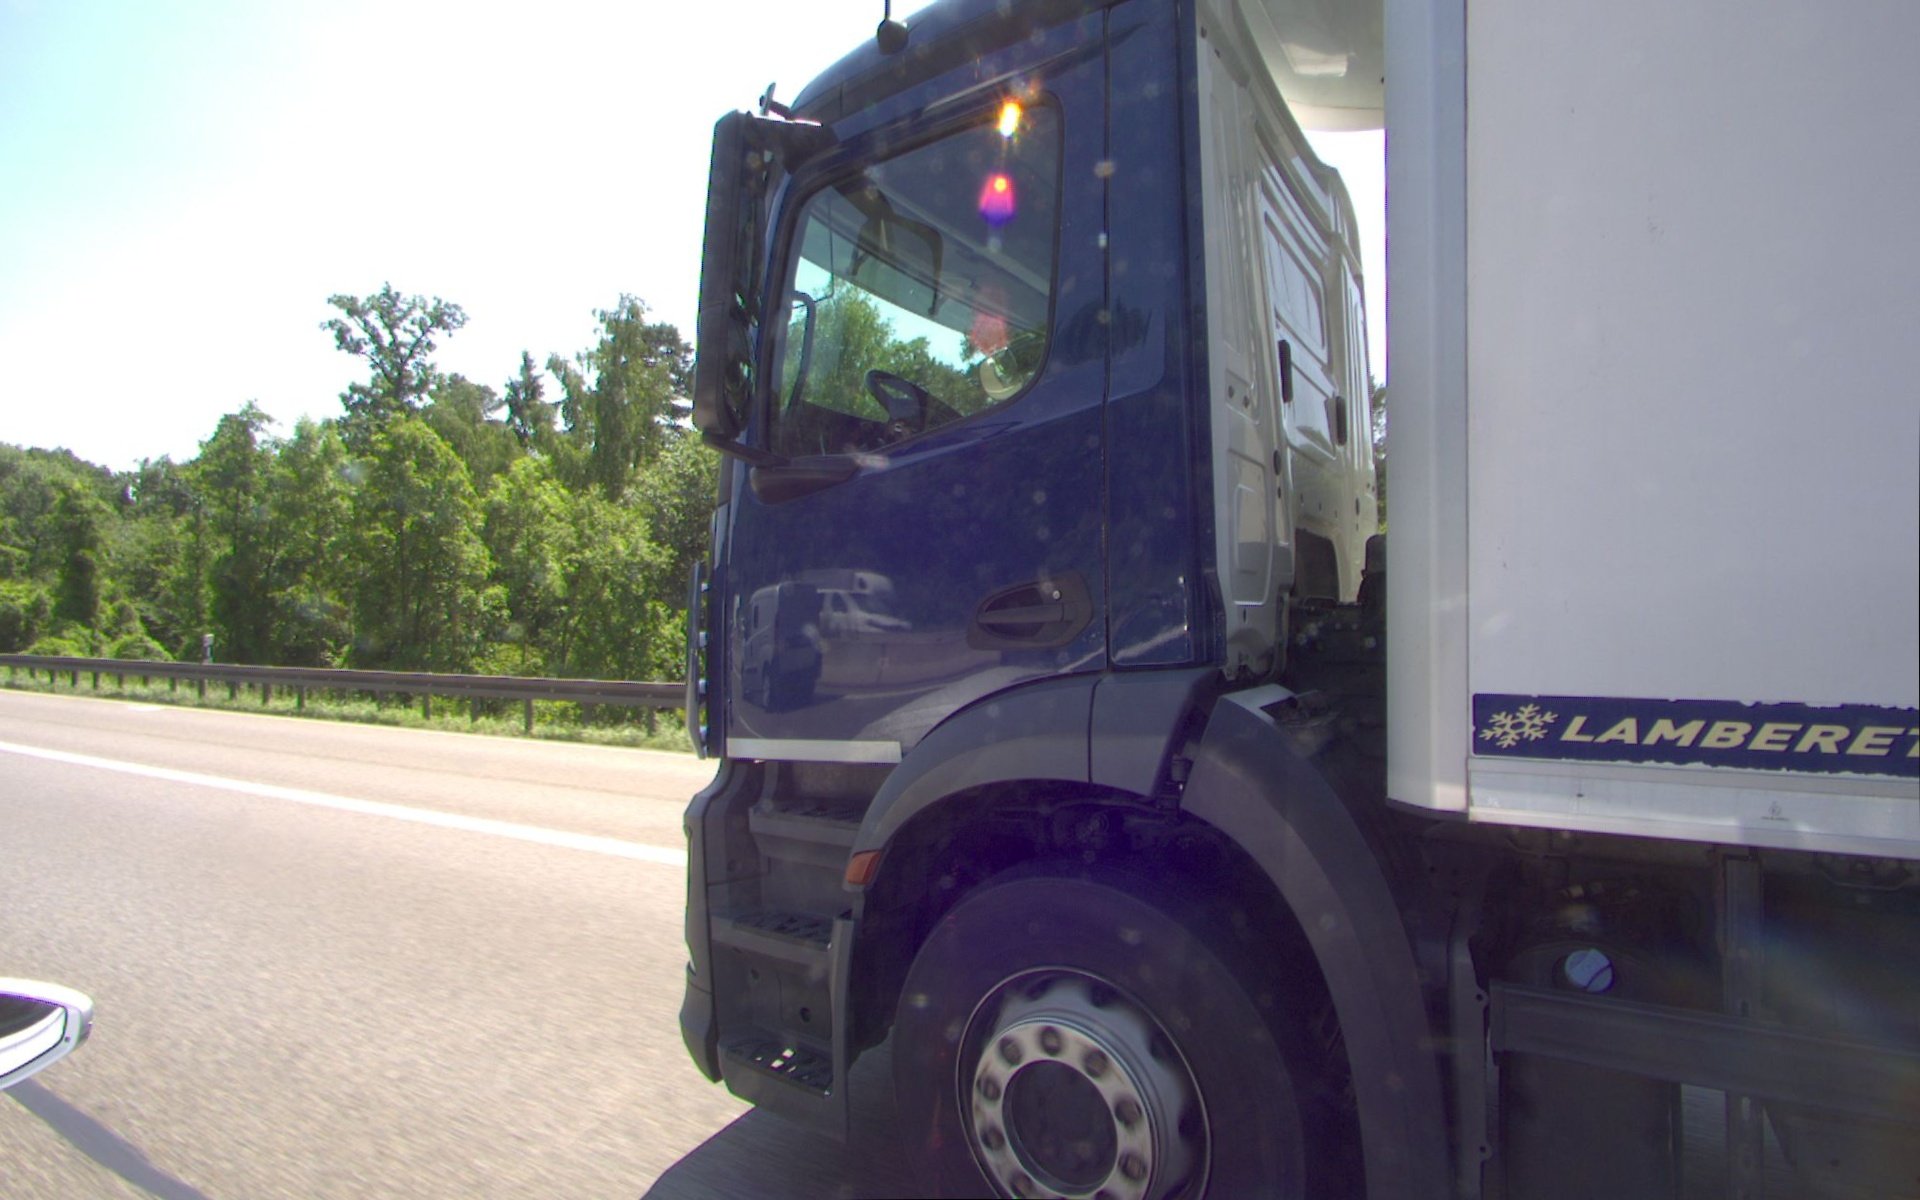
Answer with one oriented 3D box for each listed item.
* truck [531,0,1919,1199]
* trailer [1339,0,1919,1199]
[{"bbox_3d":[1.307,0.064,2.540,4.047,2.979,2.550,-2,-1,33],"label":"truck"},{"bbox_3d":[4.520,-0.028,0.545,7.767,2.936,2.552,-1,-1,31],"label":"trailer"}]
